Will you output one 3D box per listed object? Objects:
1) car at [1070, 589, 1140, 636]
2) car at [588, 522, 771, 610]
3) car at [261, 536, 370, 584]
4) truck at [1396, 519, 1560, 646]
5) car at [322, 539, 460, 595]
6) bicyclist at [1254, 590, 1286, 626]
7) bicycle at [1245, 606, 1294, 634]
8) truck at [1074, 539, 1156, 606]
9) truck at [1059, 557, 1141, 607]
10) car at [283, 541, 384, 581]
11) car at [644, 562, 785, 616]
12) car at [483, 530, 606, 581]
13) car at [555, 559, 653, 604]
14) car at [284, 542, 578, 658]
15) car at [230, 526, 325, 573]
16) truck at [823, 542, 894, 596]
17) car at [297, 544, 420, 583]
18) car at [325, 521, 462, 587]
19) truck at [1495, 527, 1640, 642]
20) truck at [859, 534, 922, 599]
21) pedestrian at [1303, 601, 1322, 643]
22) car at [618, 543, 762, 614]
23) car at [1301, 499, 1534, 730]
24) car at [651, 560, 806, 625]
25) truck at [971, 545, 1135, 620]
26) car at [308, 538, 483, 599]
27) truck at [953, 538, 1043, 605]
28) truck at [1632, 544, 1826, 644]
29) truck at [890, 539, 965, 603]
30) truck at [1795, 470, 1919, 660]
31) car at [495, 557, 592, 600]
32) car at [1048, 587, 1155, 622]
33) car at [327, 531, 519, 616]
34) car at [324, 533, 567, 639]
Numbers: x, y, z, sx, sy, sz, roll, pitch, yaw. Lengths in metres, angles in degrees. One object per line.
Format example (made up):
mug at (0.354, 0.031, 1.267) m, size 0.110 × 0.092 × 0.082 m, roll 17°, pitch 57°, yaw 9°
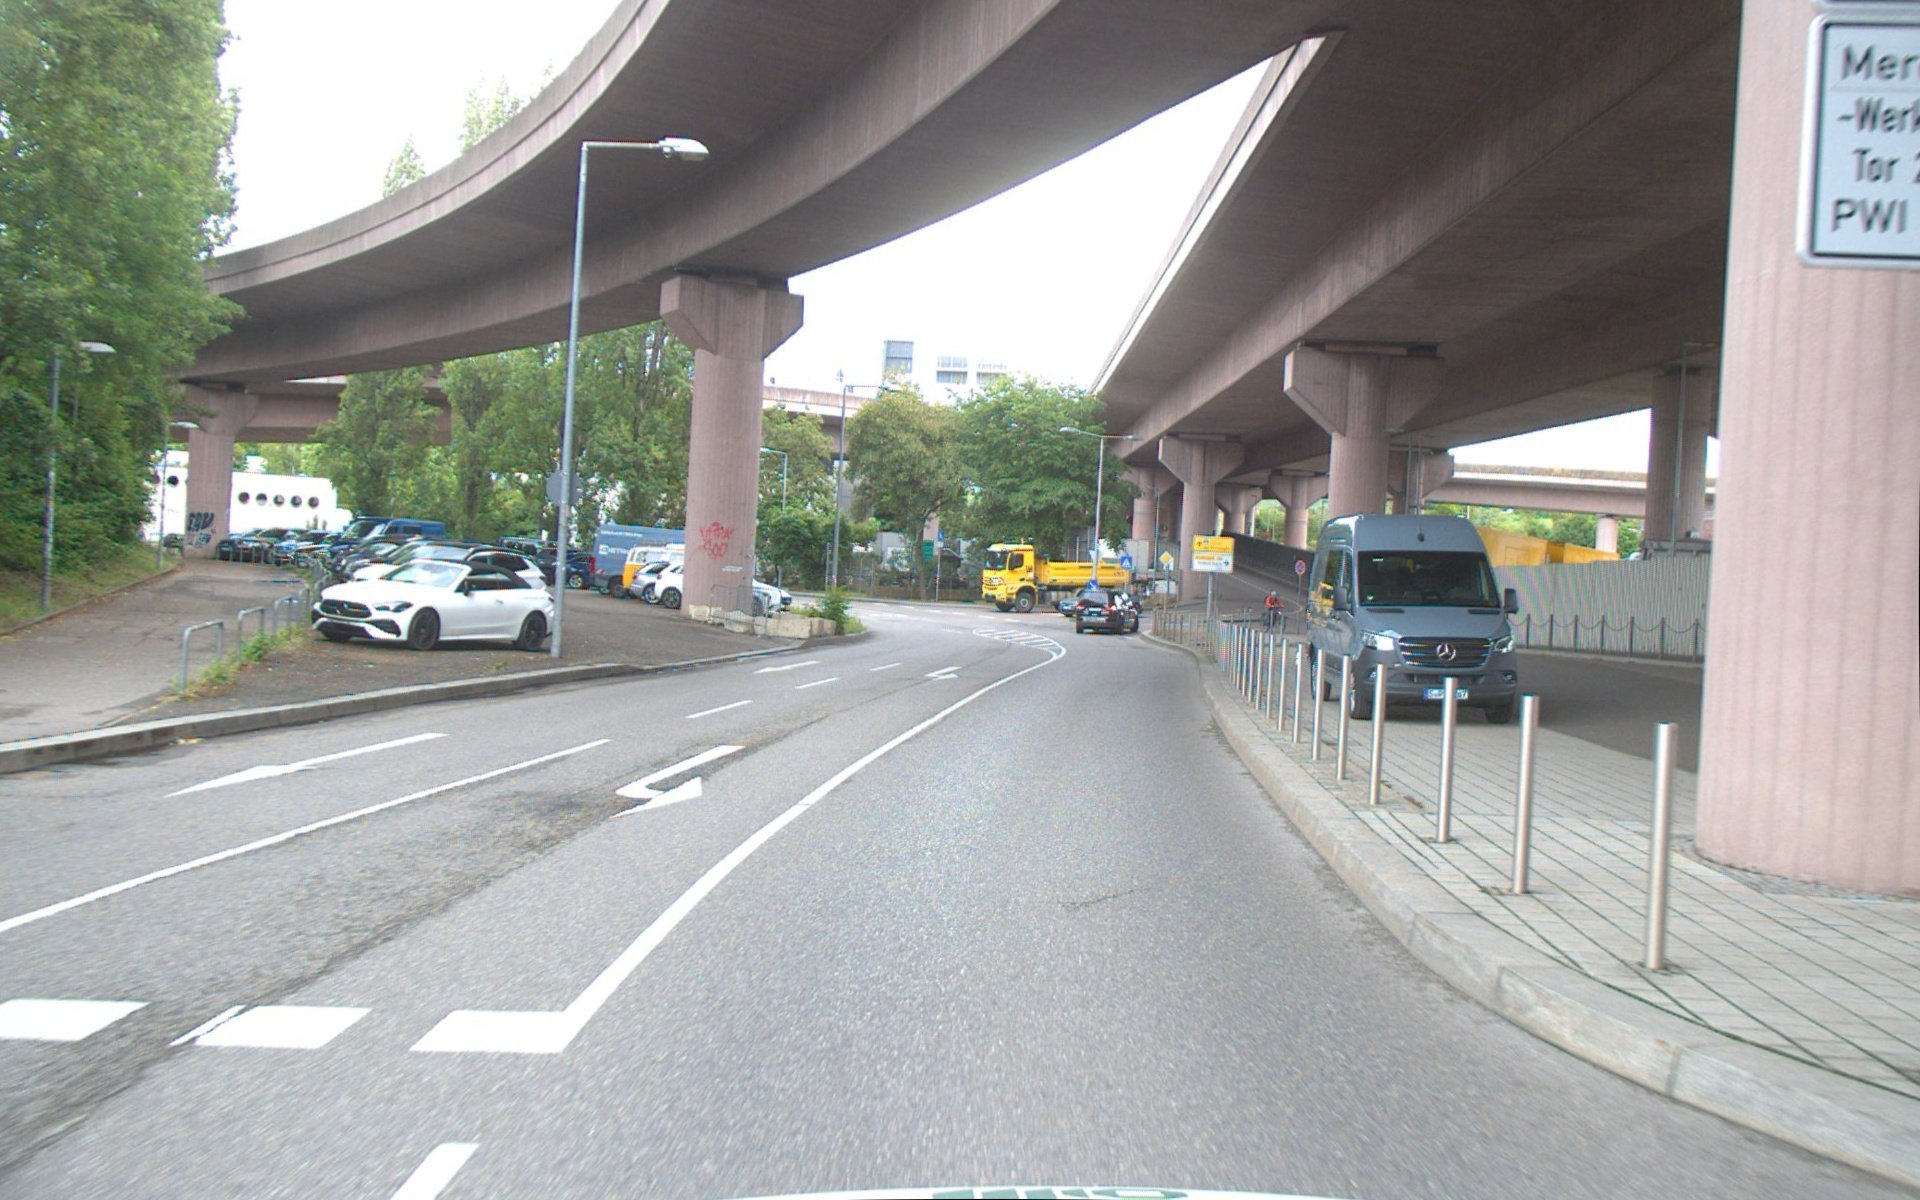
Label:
car at (5.789, 0.467, 65.669) m, size 1.951 × 1.708 × 4.564 m, roll 3°, pitch 1°, yaw 14°
car at (-10.213, -1.228, 60.505) m, size 6.046 × 2.772 × 2.369 m, roll 4°, pitch 1°, yaw 5°
car at (-27.820, -1.774, 71.540) m, size 1.804 × 1.831 × 4.301 m, roll 1°, pitch 5°, yaw 25°
truck at (22.145, -0.671, 70.350) m, size 3.094 × 5.003 × 8.661 m, roll 3°, pitch 0°, yaw 43°
car at (-18.560, -1.062, 54.132) m, size 1.858 × 1.705 × 4.150 m, roll 2°, pitch 1°, yaw 26°
bicyclist at (12.670, 0.337, 67.703) m, size 0.787 × 1.430 × 1.056 m, roll 1°, pitch 0°, yaw -30°
bicycle at (12.663, 0.812, 67.701) m, size 0.793 × 1.117 × 2.110 m, roll 1°, pitch 0°, yaw -29°
truck at (10.792, -1.984, 116.132) m, size 3.015 × 4.373 × 8.017 m, roll 1°, pitch 2°, yaw -15°
truck at (9.175, -1.231, 109.277) m, size 2.872 × 2.949 × 6.522 m, roll 1°, pitch 2°, yaw -20°
car at (-26.211, -1.623, 69.326) m, size 1.752 × 1.500 × 3.886 m, roll 2°, pitch 1°, yaw 23°
car at (-8.160, -0.363, 55.148) m, size 4.155 × 1.394 × 2.002 m, roll 5°, pitch 1°, yaw 11°
car at (-19.374, -2.049, 77.249) m, size 4.983 × 2.108 × 2.260 m, roll 2°, pitch -1°, yaw 5°
car at (-14.914, -0.789, 69.473) m, size 3.915 × 1.770 × 2.016 m, roll 1°, pitch 0°, yaw -11°
car at (-8.647, 0.063, 27.576) m, size 1.954 × 1.505 × 4.828 m, roll 7°, pitch 0°, yaw 21°
car at (-31.444, -2.318, 76.307) m, size 1.619 × 1.741 × 4.083 m, roll 5°, pitch -1°, yaw 19°
truck at (-7.879, -2.426, 127.126) m, size 3.012 × 3.681 × 7.866 m, roll 2°, pitch 3°, yaw -22°
car at (-24.153, -1.451, 66.574) m, size 1.954 × 1.460 × 4.643 m, roll 1°, pitch 0°, yaw 25°
car at (-21.068, -1.669, 61.760) m, size 2.074 × 2.294 × 5.018 m, roll 2°, pitch 0°, yaw 21°
truck at (28.456, -0.645, 77.223) m, size 3.094 × 4.988 × 8.661 m, roll 3°, pitch 0°, yaw 43°
truck at (-5.558, -2.718, 130.716) m, size 3.150 × 4.862 × 8.019 m, roll 1°, pitch 2°, yaw -15°
pedestrian at (14.529, 0.897, 68.177) m, size 0.526 × 1.705 × 0.557 m, roll 1°, pitch 1°, yaw -11°
car at (-9.402, -0.749, 57.743) m, size 4.460 × 2.147 × 1.852 m, roll 4°, pitch 1°, yaw 9°
car at (5.991, 0.140, 22.462) m, size 1.951 × 2.658 × 6.078 m, roll 2°, pitch 1°, yaw 5°
car at (-7.264, -0.252, 52.041) m, size 4.289 × 1.633 × 1.956 m, roll 5°, pitch 1°, yaw 14°
truck at (4.900, -0.889, 86.434) m, size 8.124 × 3.540 × 2.911 m, roll 1°, pitch 5°, yaw -28°
car at (-16.039, -0.859, 47.269) m, size 1.821 × 1.513 × 4.886 m, roll 5°, pitch 2°, yaw 24°
truck at (2.378, -1.890, 106.753) m, size 3.020 × 3.934 × 8.004 m, roll 1°, pitch 2°, yaw -20°
truck at (25.164, -0.213, 53.858) m, size 3.094 × 2.995 × 8.659 m, roll -1°, pitch 0°, yaw 44°
truck at (-2.248, -1.926, 110.982) m, size 3.018 × 4.032 × 6.888 m, roll 2°, pitch 0°, yaw -18°
truck at (25.169, -0.811, 43.799) m, size 3.091 × 4.520 × 9.669 m, roll 1°, pitch 0°, yaw 41°
car at (-18.047, -0.926, 71.857) m, size 3.915 × 1.760 × 1.995 m, roll 1°, pitch 0°, yaw -11°
car at (6.965, 0.226, 81.492) m, size 4.859 × 1.528 × 2.154 m, roll 1°, pitch 1°, yaw -28°
car at (-12.265, -0.567, 38.046) m, size 1.820 × 1.720 × 4.161 m, roll 3°, pitch 0°, yaw 24°
car at (-9.687, -0.214, 31.537) m, size 1.954 × 1.609 × 4.399 m, roll 7°, pitch 0°, yaw 22°
